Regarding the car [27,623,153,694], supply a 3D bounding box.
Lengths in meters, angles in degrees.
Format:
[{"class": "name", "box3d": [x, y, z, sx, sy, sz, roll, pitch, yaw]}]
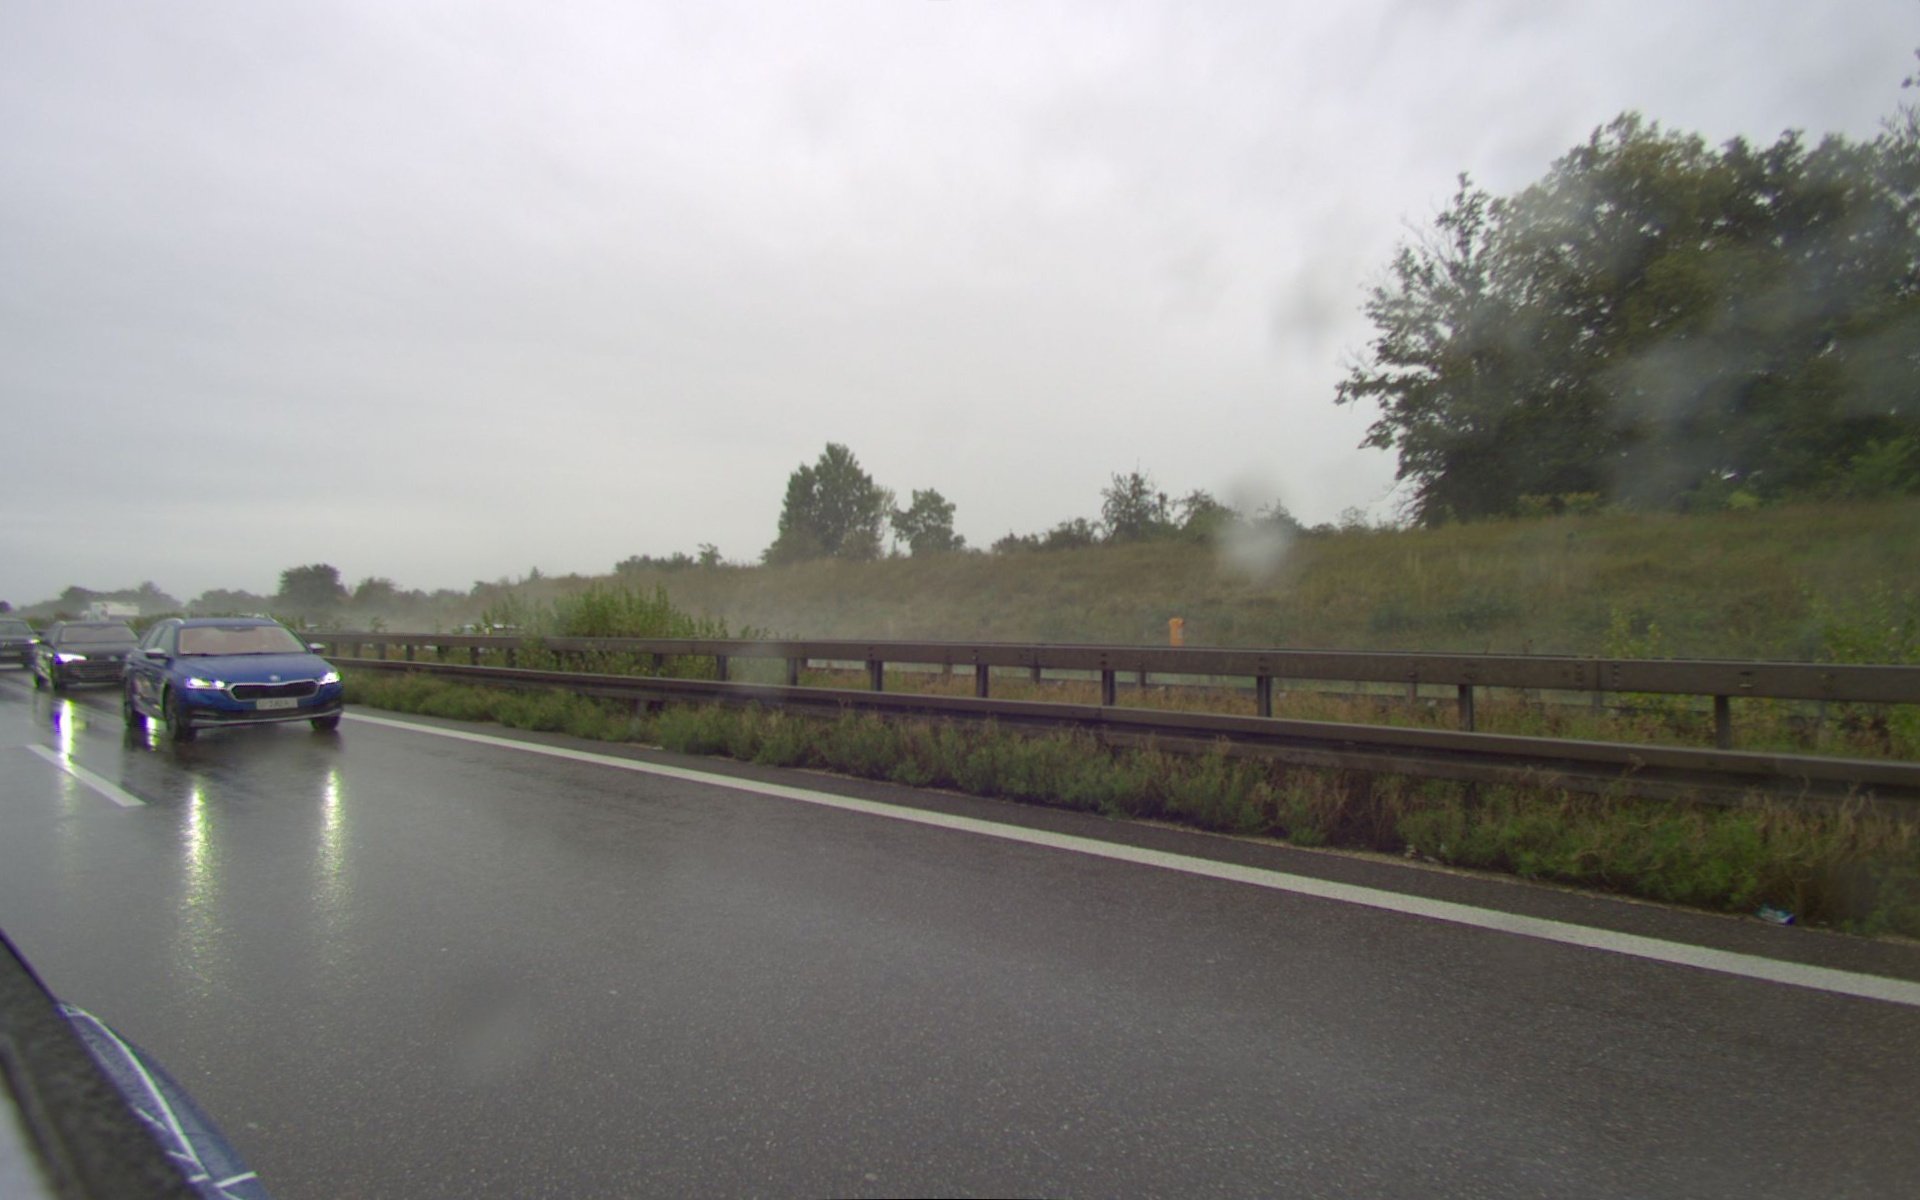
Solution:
[{"class": "car", "box3d": [-19.809, 1.272, 22.976, 4.368, 1.447, 1.592, -2, -1, 41]}]

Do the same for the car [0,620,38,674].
[{"class": "car", "box3d": [-31.191, 1.500, 32.517, 4.267, 1.644, 1.864, -2, -1, 41]}]

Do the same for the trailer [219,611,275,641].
[{"class": "trailer", "box3d": [-52.102, 1.868, 73.942, 5.347, 2.029, 2.070, 0, -2, 41]}]

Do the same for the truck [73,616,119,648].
[{"class": "truck", "box3d": [-96.493, 3.519, 113.020, 9.345, 3.323, 2.528, 0, -2, 41]}]

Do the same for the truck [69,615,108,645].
[{"class": "truck", "box3d": [-99.845, 3.443, 115.985, 5.195, 3.305, 2.515, 0, -3, 40]}]

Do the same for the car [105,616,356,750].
[{"class": "car", "box3d": [-9.822, 0.988, 13.482, 4.510, 1.487, 1.767, -2, -1, 41]}]

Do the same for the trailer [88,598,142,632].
[{"class": "trailer", "box3d": [-71.765, 1.264, 85.903, 7.323, 2.740, 2.455, 0, -2, 42]}]
